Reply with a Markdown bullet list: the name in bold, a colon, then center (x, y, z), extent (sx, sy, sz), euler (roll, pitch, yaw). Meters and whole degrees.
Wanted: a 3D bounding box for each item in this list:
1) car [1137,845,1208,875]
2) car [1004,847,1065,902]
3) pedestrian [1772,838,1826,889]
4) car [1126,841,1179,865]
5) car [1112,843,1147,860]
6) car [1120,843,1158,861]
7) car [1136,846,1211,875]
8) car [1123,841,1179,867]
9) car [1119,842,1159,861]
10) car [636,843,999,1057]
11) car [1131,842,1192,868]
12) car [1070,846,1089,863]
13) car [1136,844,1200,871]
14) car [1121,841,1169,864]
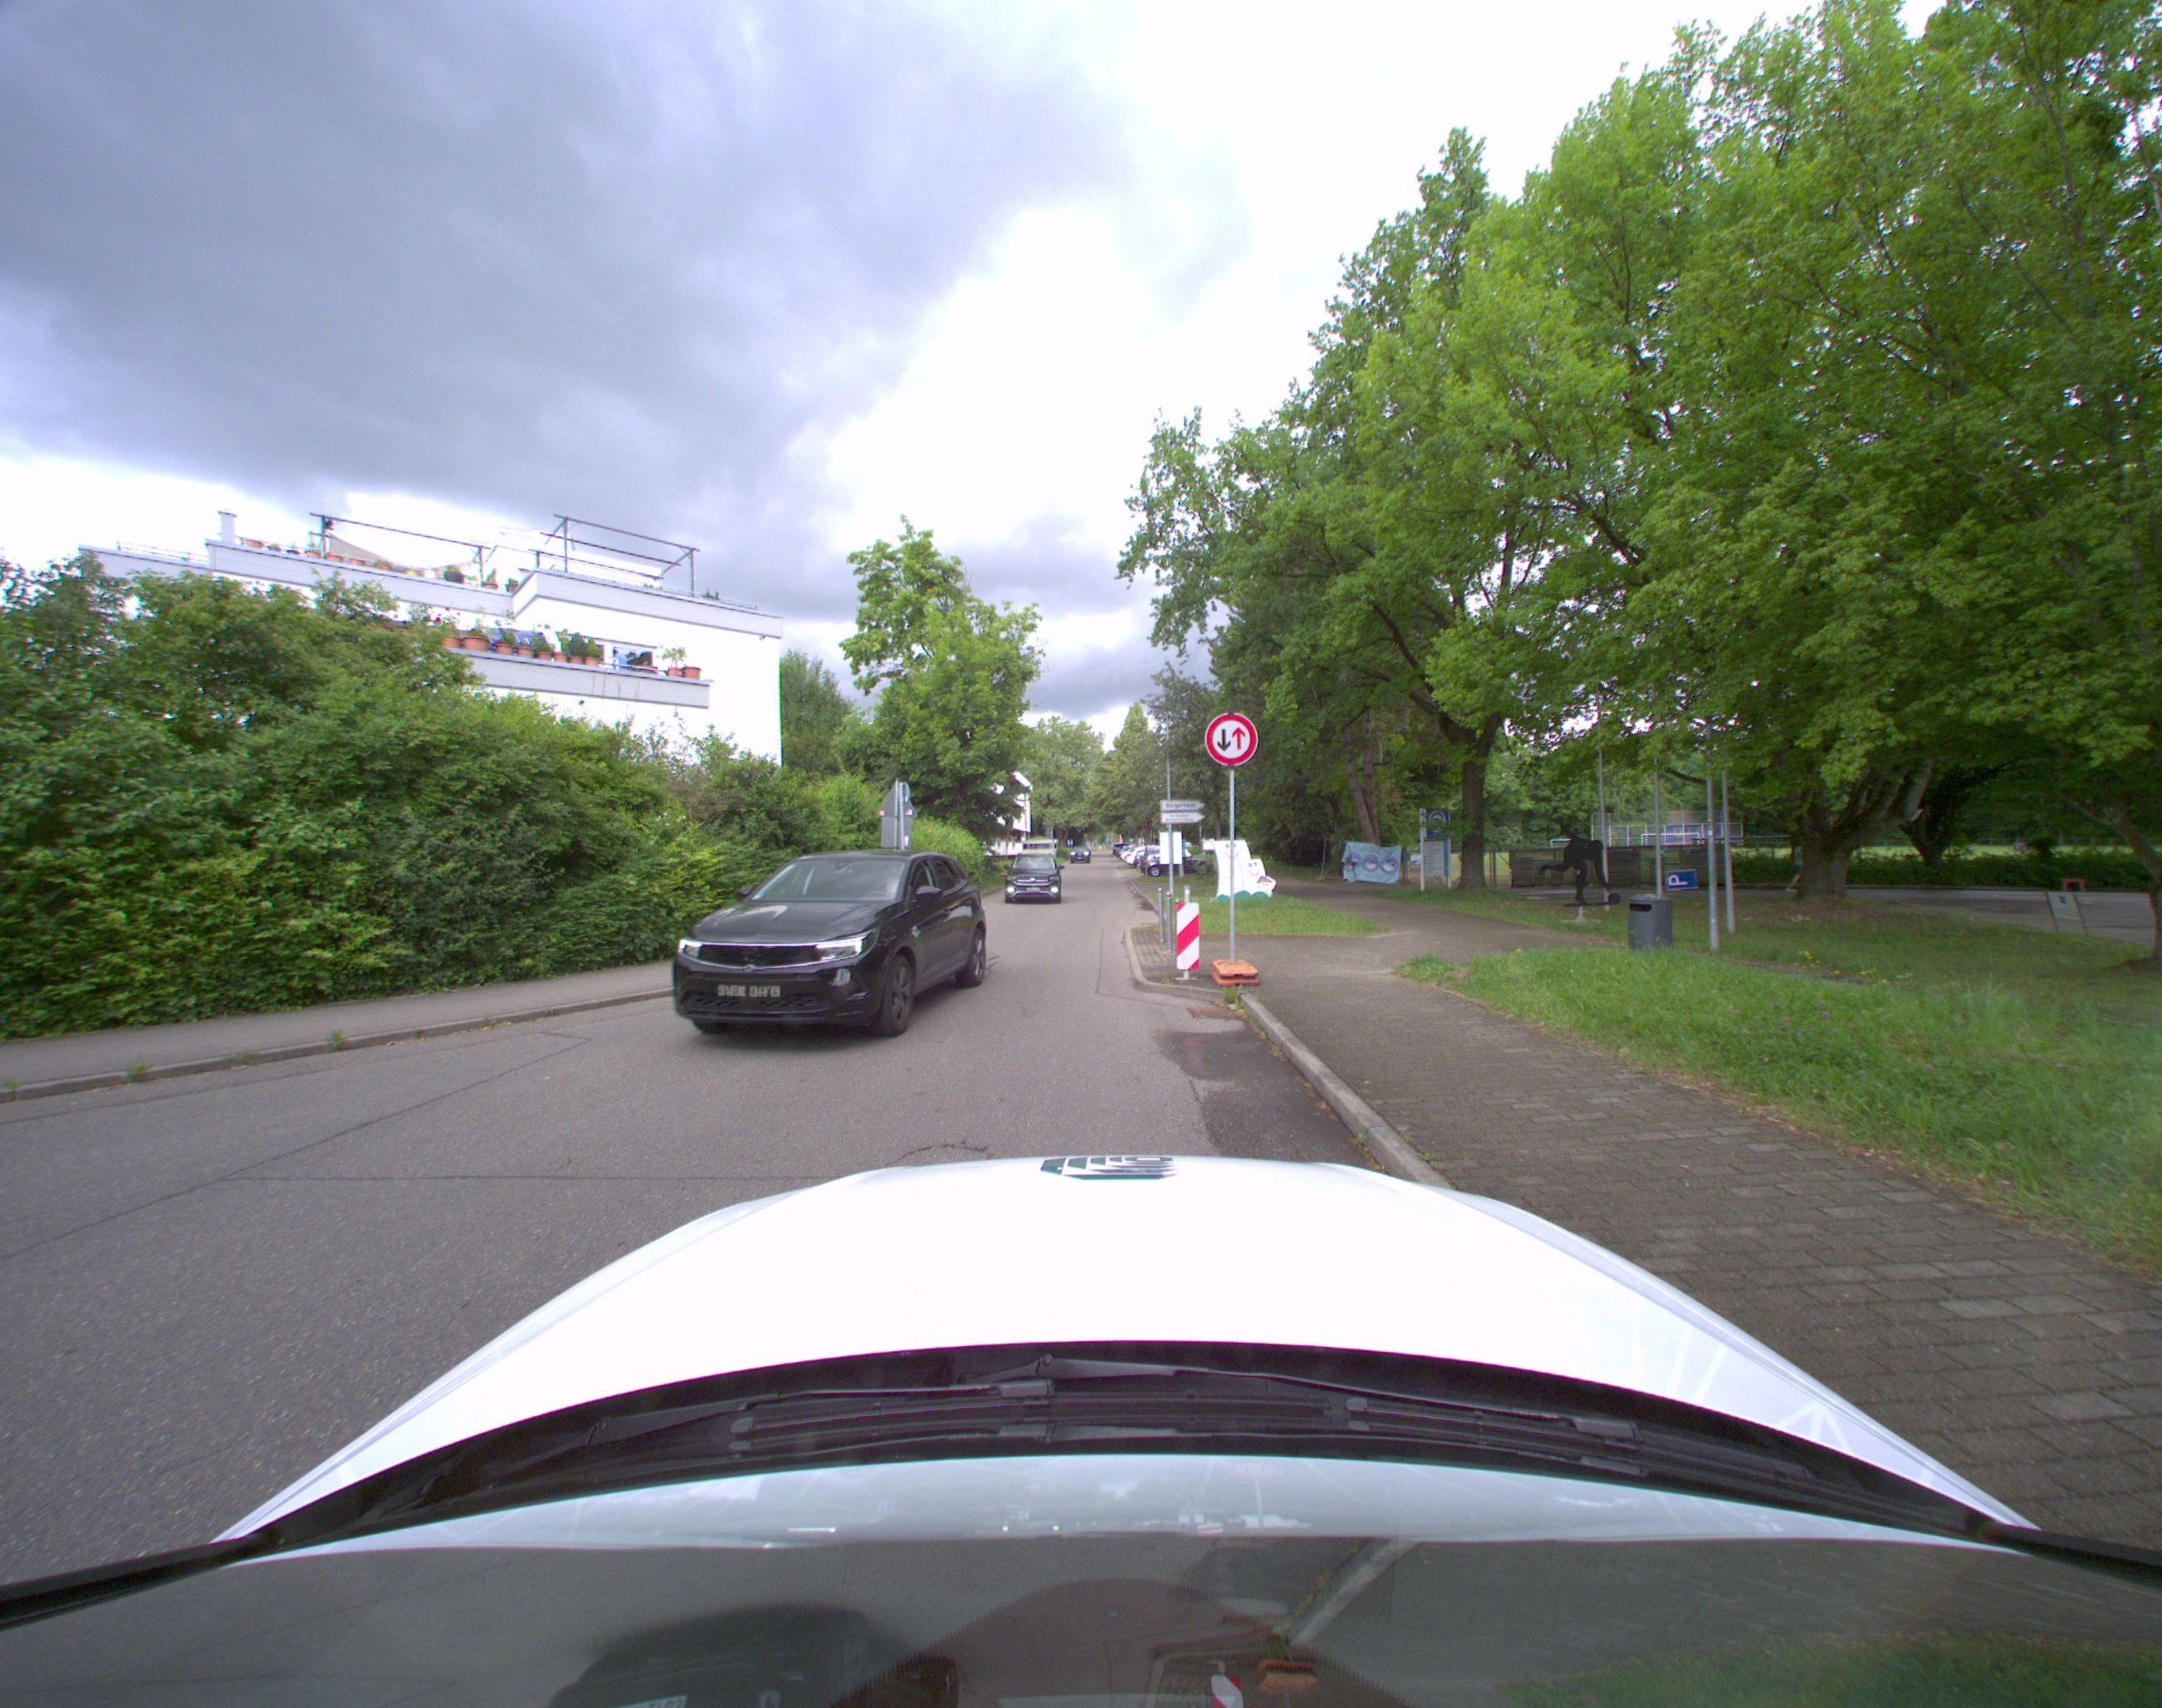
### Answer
- **car**: center (5.458, 0.387, 48.948), extent (4.049, 1.568, 1.822), euler (-3, -1, 0)
- **car**: center (-1.475, 0.600, 26.449), extent (1.798, 1.591, 4.292), euler (-1, 0, -2)
- **pedestrian**: center (24.602, 0.315, 27.931), extent (1.137, 1.674, 0.798), euler (-3, -2, 27)
- **car**: center (5.949, -0.075, 68.135), extent (4.053, 1.687, 1.821), euler (-5, 0, -2)
- **car**: center (5.850, -0.313, 98.732), extent (4.053, 1.687, 1.821), euler (-5, 0, -2)
- **car**: center (6.646, -0.189, 93.673), extent (4.053, 1.687, 1.821), euler (-5, 0, -2)
- **car**: center (5.226, 0.370, 46.473), extent (4.049, 1.434, 2.000), euler (-3, -1, 0)
- **car**: center (5.496, 0.024, 64.223), extent (4.053, 1.687, 1.821), euler (-5, 0, -2)
- **car**: center (6.207, -0.317, 87.788), extent (4.053, 1.687, 1.821), euler (-5, 0, -2)
- **car**: center (-2.221, 0.711, 8.267), extent (1.793, 1.591, 4.305), euler (-1, 0, 7)
- **car**: center (5.787, 0.043, 58.907), extent (4.053, 1.488, 1.821), euler (-5, 0, -2)
- **car**: center (-0.125, 0.069, 85.781), extent (1.962, 1.747, 4.338), euler (-1, 0, 1)
- **car**: center (5.735, 0.233, 54.273), extent (4.049, 1.568, 1.823), euler (-3, 0, 0)
- **car**: center (5.856, -0.124, 74.693), extent (4.053, 1.687, 1.821), euler (-5, 0, -2)
